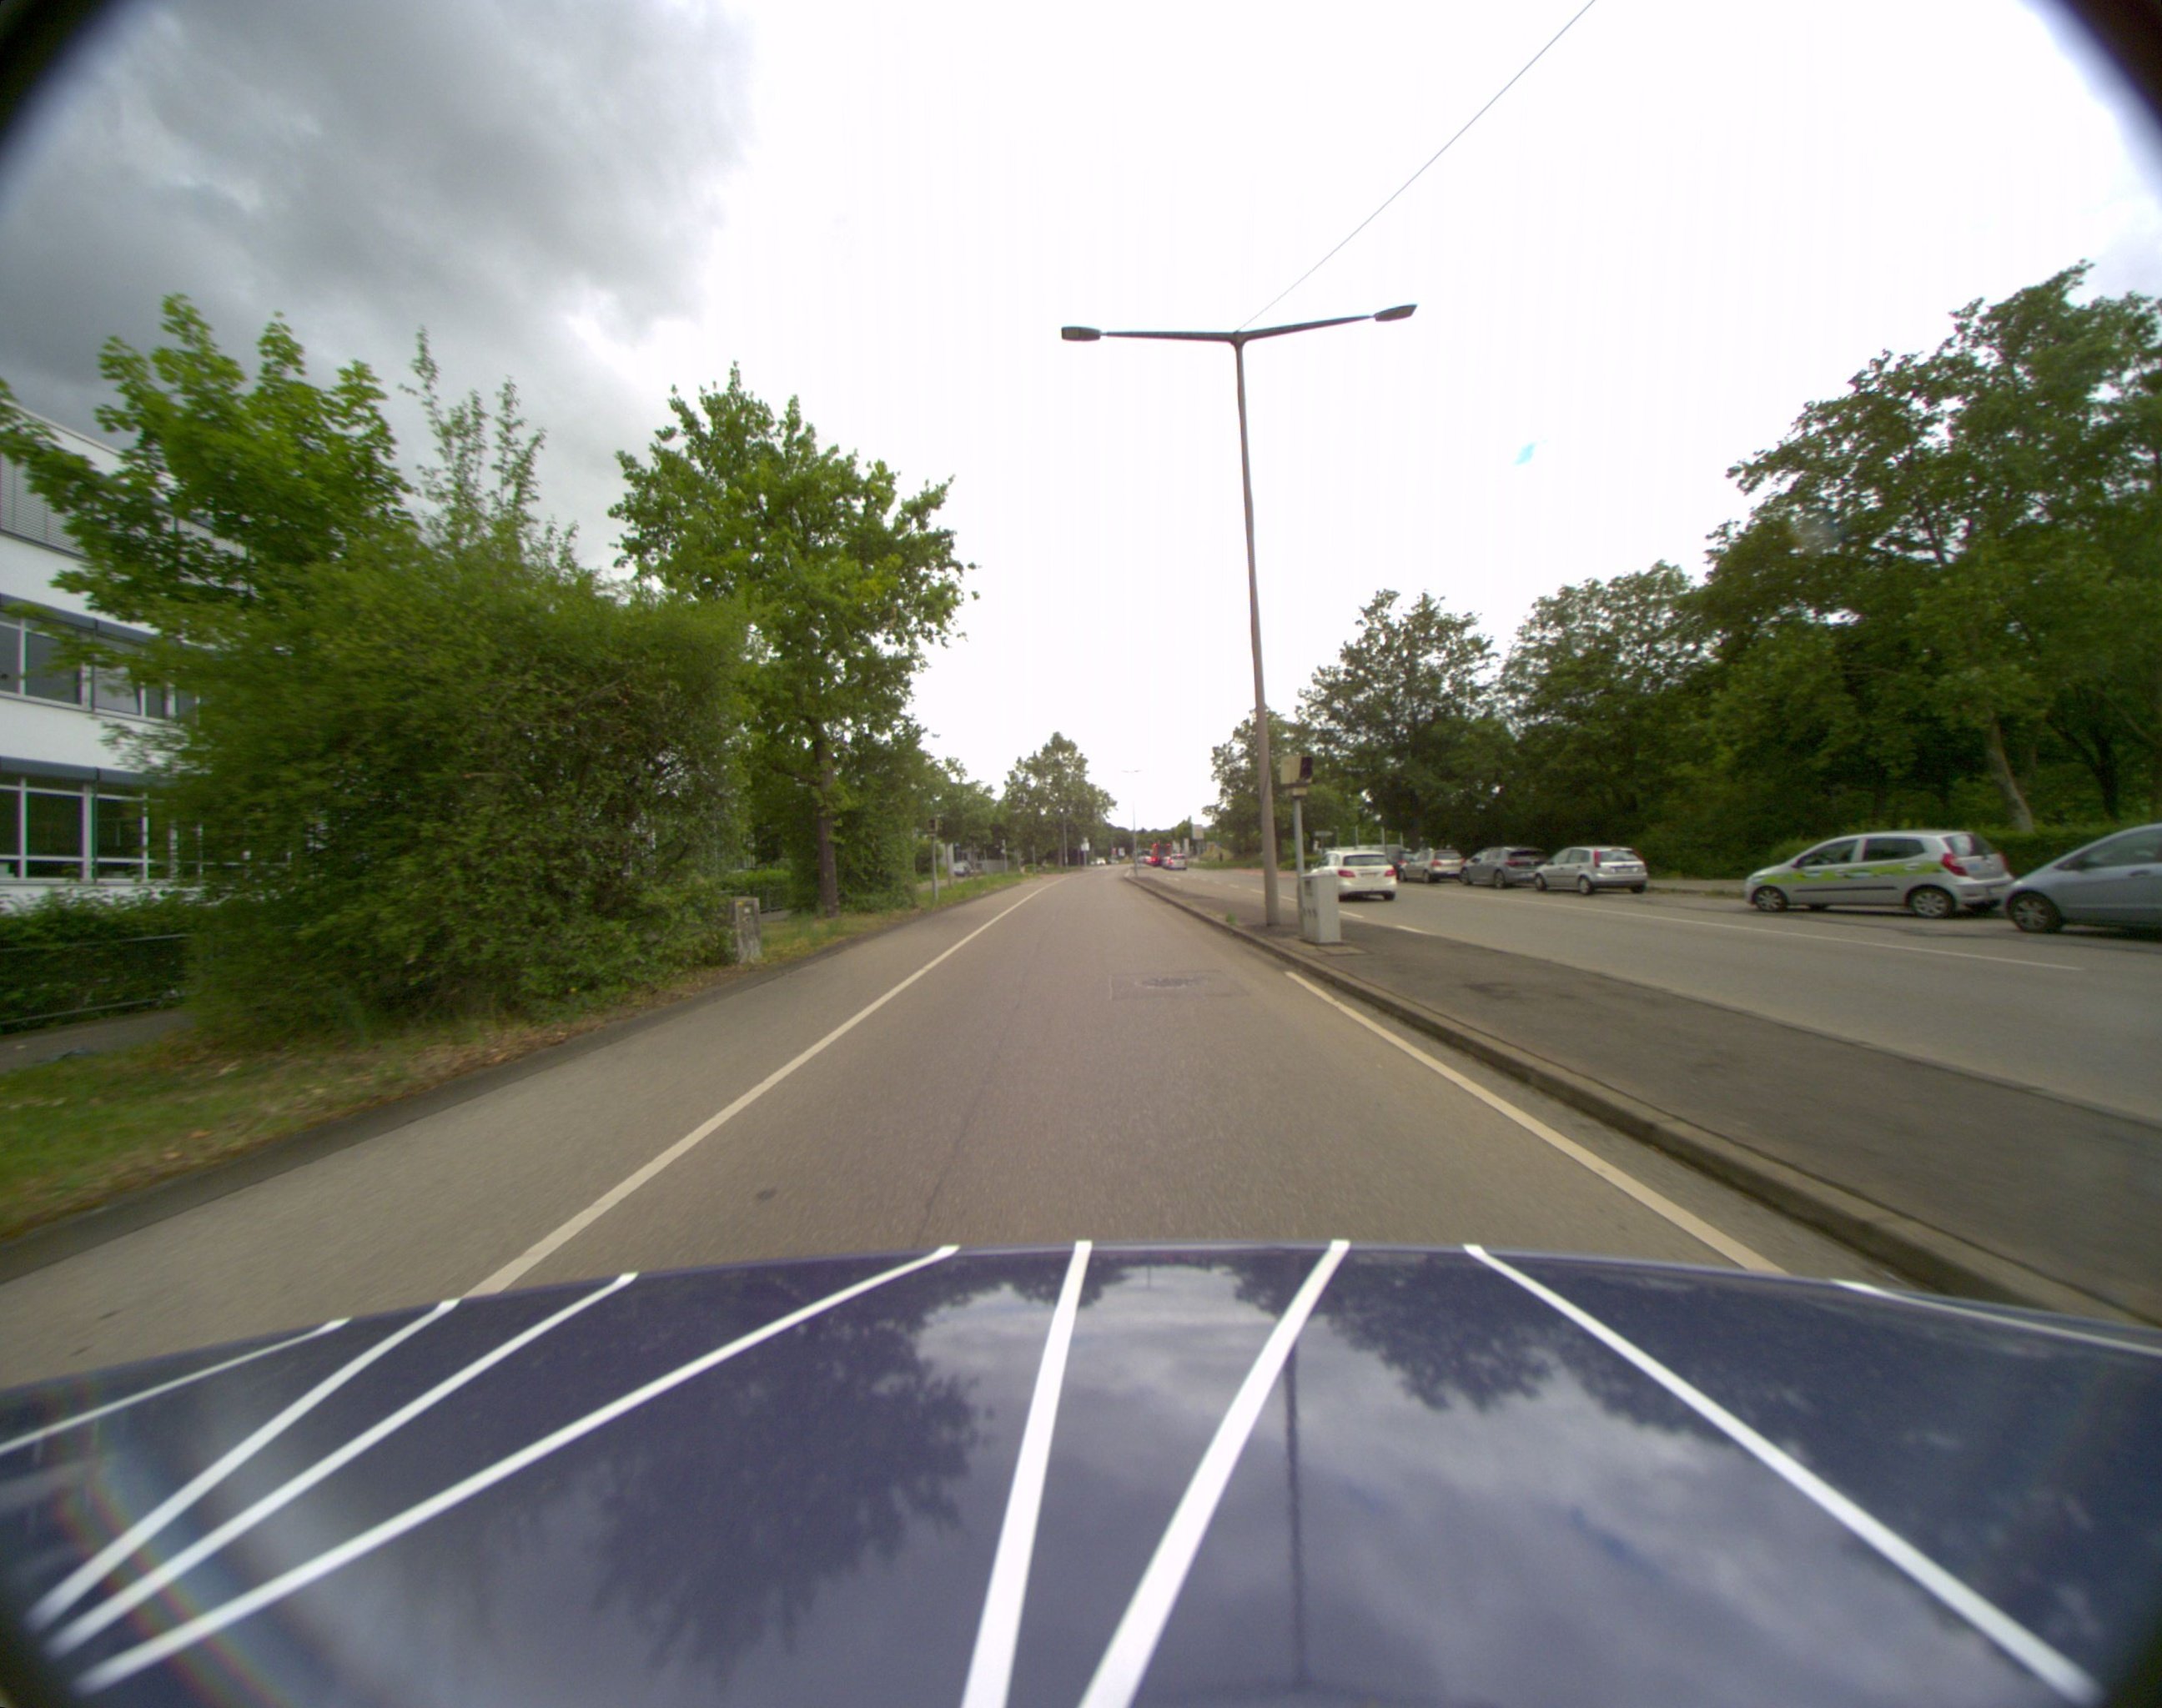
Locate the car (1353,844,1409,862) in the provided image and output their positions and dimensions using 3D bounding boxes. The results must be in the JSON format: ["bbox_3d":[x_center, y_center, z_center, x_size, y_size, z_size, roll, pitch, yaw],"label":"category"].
[{"bbox_3d":[32.802,-0.122,83.163,5.297,2.002,2.011,0,1,0],"label":"car"}]

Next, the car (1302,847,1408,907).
[{"bbox_3d":[8.449,0.643,23.861,1.879,1.561,4.339,-3,1,3],"label":"car"}]

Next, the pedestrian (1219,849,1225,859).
[{"bbox_3d":[21.032,-0.020,113.056,0.757,1.438,0.639,-3,1,1],"label":"pedestrian"}]

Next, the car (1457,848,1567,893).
[{"bbox_3d":[16.212,0.586,28.831,1.880,1.498,4.000,-3,0,0],"label":"car"}]

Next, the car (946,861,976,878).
[{"bbox_3d":[-11.453,1.447,72.787,1.851,1.408,4.982,-4,0,2],"label":"car"}]

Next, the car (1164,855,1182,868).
[{"bbox_3d":[11.034,0.921,91.446,1.733,1.477,4.123,-1,0,2],"label":"car"}]

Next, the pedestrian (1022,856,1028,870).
[{"bbox_3d":[-6.709,1.089,90.828,0.734,1.717,0.501,-1,1,-2],"label":"pedestrian"}]

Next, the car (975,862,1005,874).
[{"bbox_3d":[-13.530,2.100,112.782,4.188,1.439,1.819,-5,-1,0],"label":"car"}]

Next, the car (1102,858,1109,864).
[{"bbox_3d":[6.223,1.747,195.505,1.591,1.480,3.583,-2,0,0],"label":"car"}]

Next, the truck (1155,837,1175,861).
[{"bbox_3d":[12.868,-0.784,116.699,2.831,3.460,7.826,-2,0,5],"label":"truck"}]

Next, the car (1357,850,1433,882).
[{"bbox_3d":[16.451,0.605,40.022,1.881,1.498,3.997,-3,0,-8],"label":"car"}]

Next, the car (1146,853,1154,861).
[{"bbox_3d":[14.753,0.564,162.980,1.591,1.608,3.585,-2,0,5],"label":"car"}]

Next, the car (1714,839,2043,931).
[{"bbox_3d":[15.221,0.534,14.839,1.882,1.498,3.994,-2,0,-18],"label":"car"}]

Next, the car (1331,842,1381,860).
[{"bbox_3d":[33.013,-0.371,91.277,5.297,2.002,1.739,0,1,1],"label":"car"}]

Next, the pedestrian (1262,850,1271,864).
[{"bbox_3d":[23.444,0.415,96.076,0.757,1.727,0.638,-3,1,-7],"label":"pedestrian"}]

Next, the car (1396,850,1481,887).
[{"bbox_3d":[16.132,0.623,34.515,1.880,1.498,4.056,-3,0,0],"label":"car"}]

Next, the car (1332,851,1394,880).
[{"bbox_3d":[16.446,0.661,44.508,1.881,1.498,3.886,-3,0,-6],"label":"car"}]

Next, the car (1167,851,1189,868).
[{"bbox_3d":[10.914,0.646,85.473,1.833,1.759,4.406,-3,0,0],"label":"car"}]

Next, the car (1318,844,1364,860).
[{"bbox_3d":[33.066,-0.291,96.858,5.297,2.002,1.739,0,1,0],"label":"car"}]

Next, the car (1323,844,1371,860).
[{"bbox_3d":[33.086,-0.243,94.506,5.297,2.002,1.739,0,1,0],"label":"car"}]

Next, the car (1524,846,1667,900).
[{"bbox_3d":[16.043,0.553,23.967,1.879,1.498,4.001,-2,0,3],"label":"car"}]

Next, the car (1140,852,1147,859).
[{"bbox_3d":[14.970,0.436,181.918,1.591,1.608,3.585,-2,0,5],"label":"car"}]

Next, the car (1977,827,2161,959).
[{"bbox_3d":[14.516,0.484,9.647,1.879,1.587,4.002,-3,1,8],"label":"car"}]
